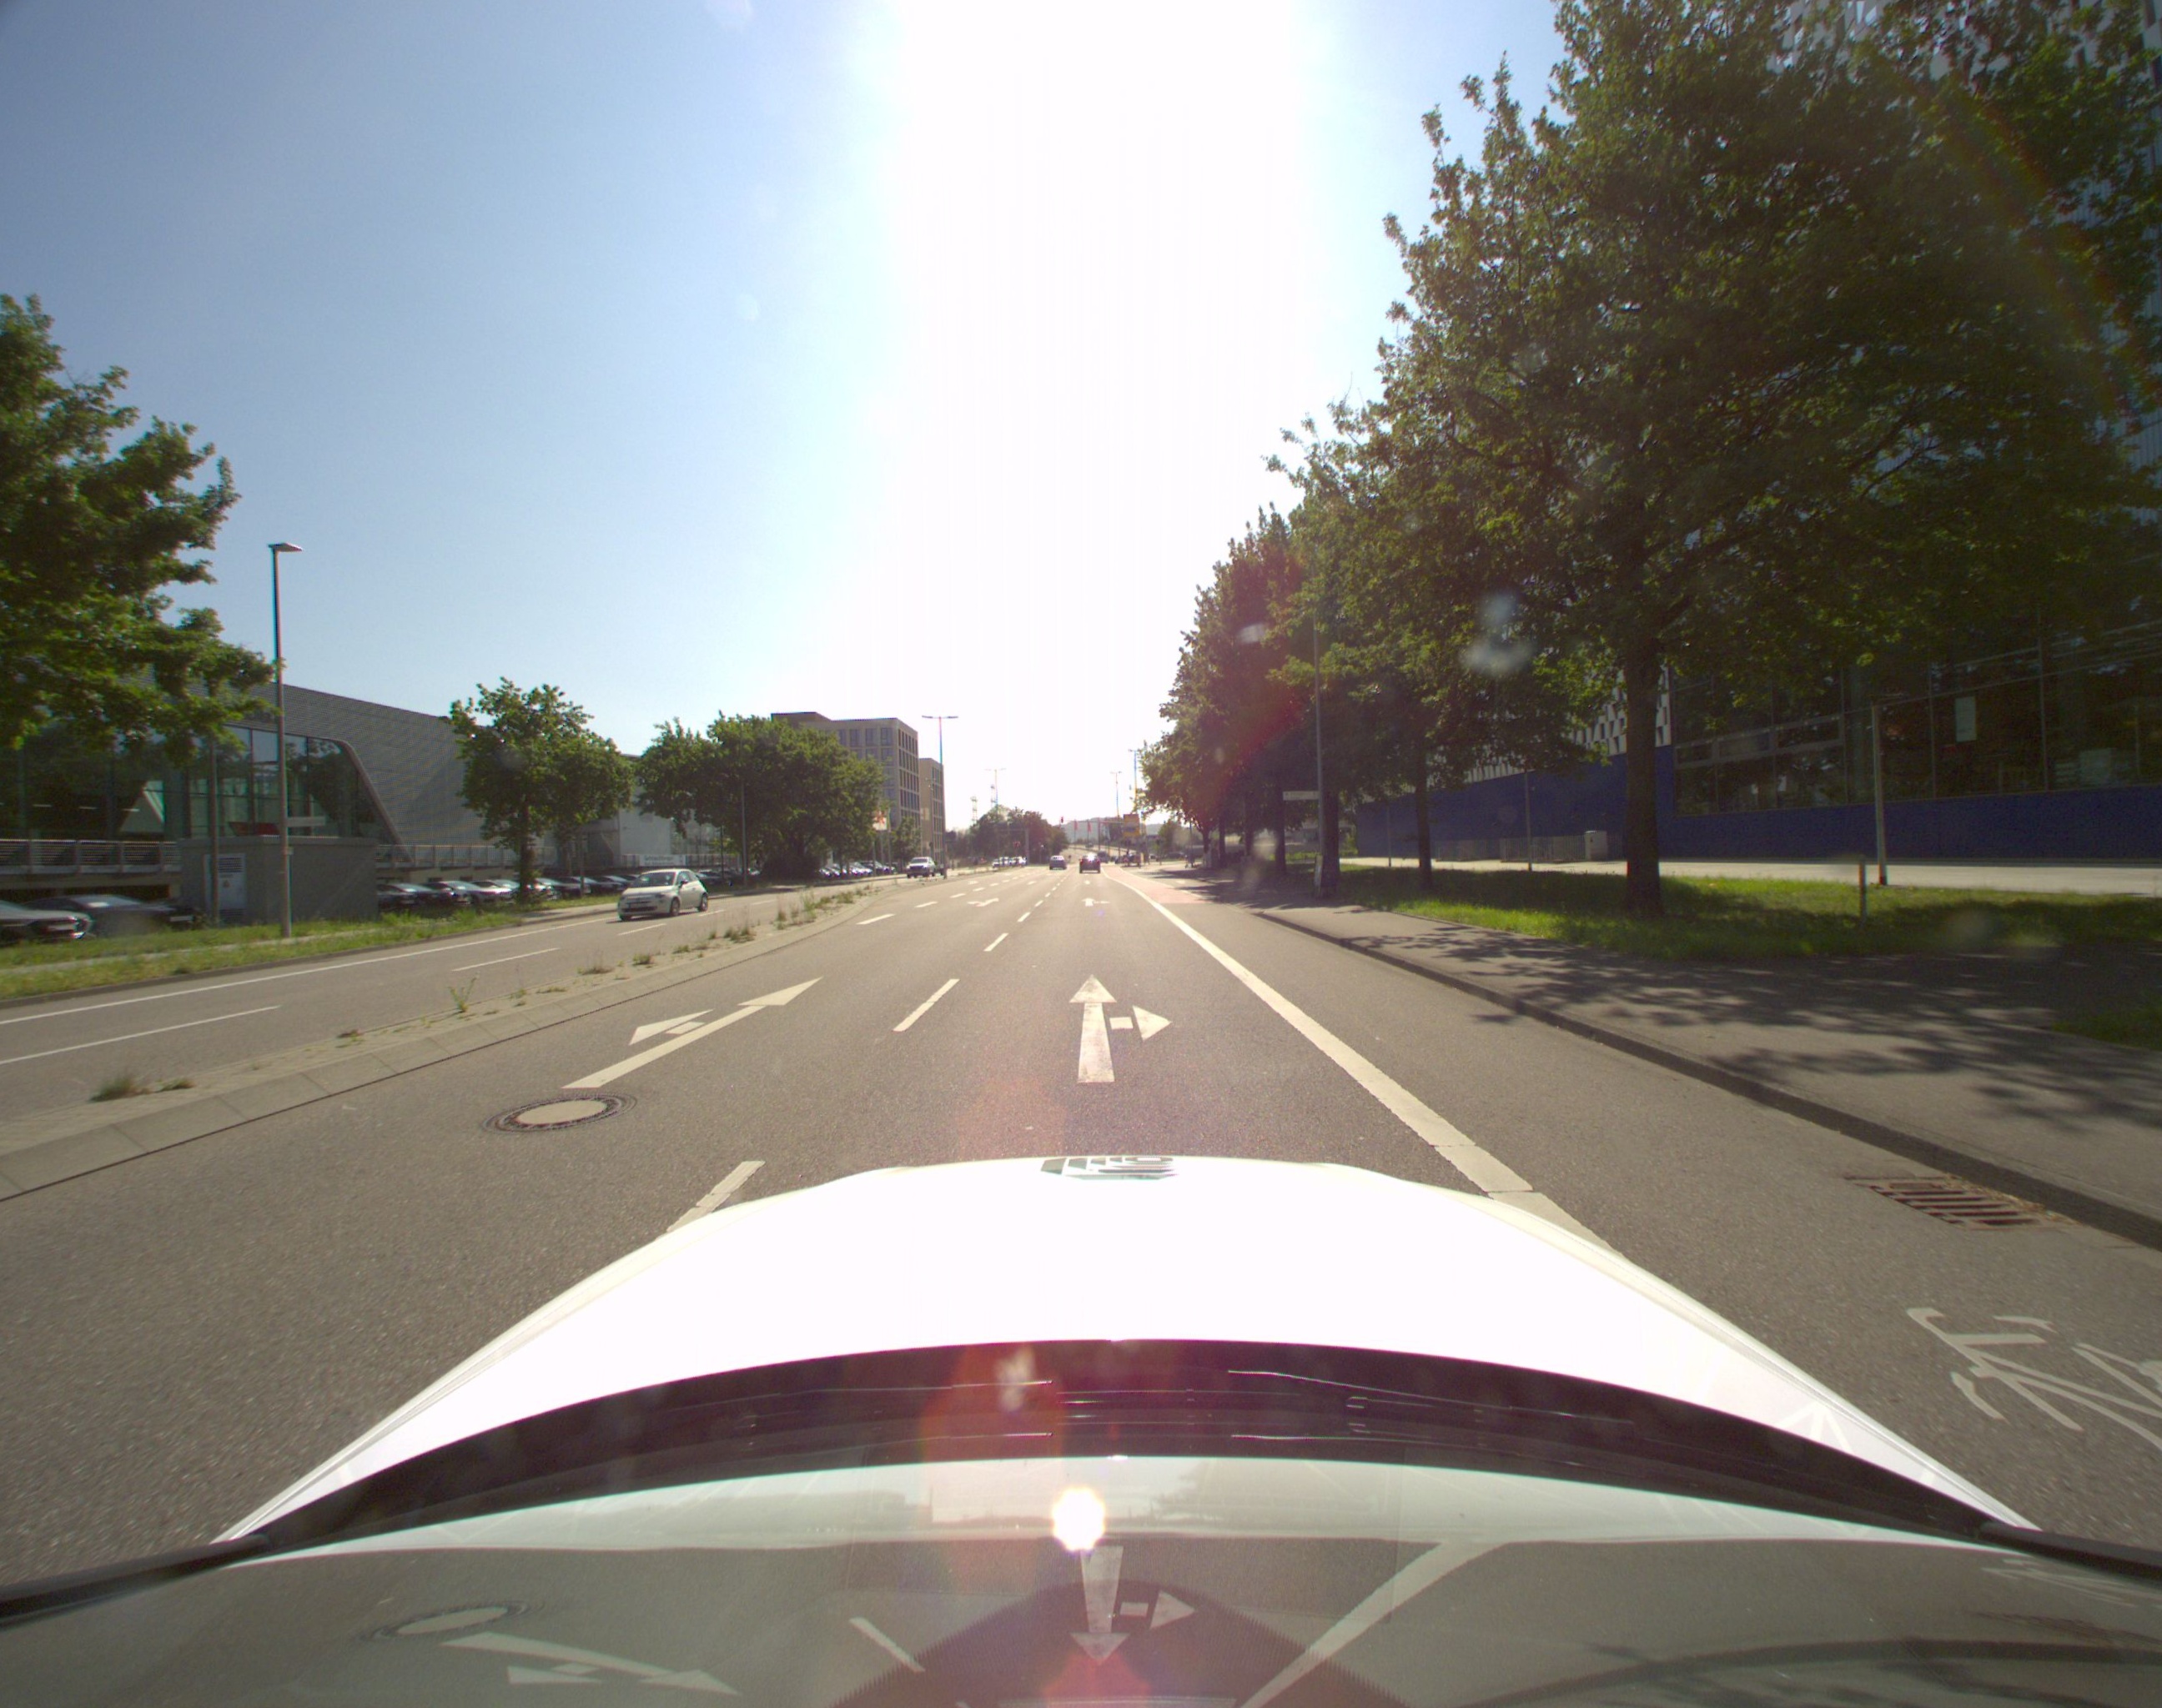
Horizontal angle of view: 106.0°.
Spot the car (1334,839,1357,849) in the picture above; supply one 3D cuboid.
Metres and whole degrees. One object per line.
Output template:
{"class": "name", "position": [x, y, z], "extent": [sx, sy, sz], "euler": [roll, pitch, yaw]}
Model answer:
{"class": "car", "position": [53.685, -2.044, 165.307], "extent": [3.975, 2.013, 2.000], "euler": [0, 1, -1]}

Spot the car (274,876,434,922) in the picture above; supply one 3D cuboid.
{"class": "car", "position": [-26.262, 1.613, 29.523], "extent": [3.973, 1.376, 2.000], "euler": [-2, 0, 1]}

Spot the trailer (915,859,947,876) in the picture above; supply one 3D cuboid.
{"class": "trailer", "position": [-14.268, 1.257, 77.751], "extent": [1.988, 1.453, 5.769], "euler": [-2, 0, -1]}

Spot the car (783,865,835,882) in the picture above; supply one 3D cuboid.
{"class": "car", "position": [-24.840, 1.778, 74.453], "extent": [3.974, 1.343, 2.000], "euler": [-2, 0, 0]}

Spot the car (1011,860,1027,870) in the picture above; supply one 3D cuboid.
{"class": "car", "position": [-10.111, 1.760, 132.974], "extent": [1.807, 1.464, 4.006], "euler": [-3, 0, 6]}

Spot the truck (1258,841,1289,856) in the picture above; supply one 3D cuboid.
{"class": "truck", "position": [31.842, -0.968, 134.737], "extent": [4.860, 2.423, 2.002], "euler": [0, 1, 3]}

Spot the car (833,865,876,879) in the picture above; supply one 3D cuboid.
{"class": "car", "position": [-24.409, 1.937, 87.850], "extent": [3.974, 1.343, 2.000], "euler": [-2, 0, 0]}

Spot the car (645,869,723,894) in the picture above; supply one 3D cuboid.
{"class": "car", "position": [-25.372, 1.763, 52.171], "extent": [3.973, 1.376, 1.925], "euler": [-2, 0, 1]}

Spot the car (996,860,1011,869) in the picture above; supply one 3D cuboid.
{"class": "car", "position": [-13.227, 1.808, 139.311], "extent": [1.807, 1.464, 4.006], "euler": [-3, 0, 6]}

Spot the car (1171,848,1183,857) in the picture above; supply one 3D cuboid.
{"class": "car", "position": [15.000, -0.288, 127.149], "extent": [1.682, 1.359, 4.004], "euler": [0, 1, 3]}

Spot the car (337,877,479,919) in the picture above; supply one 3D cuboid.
{"class": "car", "position": [-26.361, 1.702, 32.004], "extent": [3.973, 1.376, 1.866], "euler": [-2, 0, 1]}

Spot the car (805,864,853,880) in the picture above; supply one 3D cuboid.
{"class": "car", "position": [-24.607, 1.763, 79.681], "extent": [3.976, 1.343, 1.999], "euler": [-2, 0, -1]}

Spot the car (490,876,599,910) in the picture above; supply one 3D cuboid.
{"class": "car", "position": [-26.013, 1.875, 39.561], "extent": [3.973, 1.376, 1.925], "euler": [-2, 0, 1]}

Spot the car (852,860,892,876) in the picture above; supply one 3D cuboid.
{"class": "car", "position": [-29.244, 1.971, 114.012], "extent": [4.895, 2.050, 2.001], "euler": [-2, 0, 2]}

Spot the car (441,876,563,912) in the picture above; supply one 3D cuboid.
{"class": "car", "position": [-26.196, 1.802, 36.963], "extent": [4.027, 1.376, 2.026], "euler": [-2, 0, 1]}

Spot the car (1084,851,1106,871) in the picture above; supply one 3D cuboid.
{"class": "car", "position": [1.201, 0.591, 72.913], "extent": [1.801, 1.640, 4.458], "euler": [-2, 0, 0]}

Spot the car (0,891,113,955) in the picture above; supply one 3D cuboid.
{"class": "car", "position": [-26.620, 1.703, 19.677], "extent": [4.248, 1.350, 1.955], "euler": [-2, 0, 3]}

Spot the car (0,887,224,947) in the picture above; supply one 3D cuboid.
{"class": "car", "position": [-26.558, 1.691, 22.262], "extent": [4.248, 1.350, 1.955], "euler": [-2, 0, 3]}

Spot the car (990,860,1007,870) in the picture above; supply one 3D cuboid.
{"class": "car", "position": [-13.300, 1.791, 131.826], "extent": [1.882, 1.464, 4.006], "euler": [-3, 0, 6]}

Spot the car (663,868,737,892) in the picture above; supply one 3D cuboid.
{"class": "car", "position": [-25.332, 1.709, 54.258], "extent": [3.973, 1.376, 1.925], "euler": [-2, 0, 1]}

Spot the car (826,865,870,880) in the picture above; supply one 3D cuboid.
{"class": "car", "position": [-24.418, 1.962, 85.460], "extent": [3.974, 1.343, 2.000], "euler": [-2, 0, 0]}

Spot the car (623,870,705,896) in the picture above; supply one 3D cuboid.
{"class": "car", "position": [-25.529, 1.776, 49.921], "extent": [3.973, 1.376, 1.925], "euler": [-2, 0, 1]}

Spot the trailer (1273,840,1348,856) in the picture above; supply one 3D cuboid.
{"class": "trailer", "position": [37.849, -0.991, 134.496], "extent": [11.823, 2.469, 2.002], "euler": [0, 1, 2]}

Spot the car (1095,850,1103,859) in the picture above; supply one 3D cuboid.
{"class": "car", "position": [4.470, 0.165, 200.792], "extent": [1.986, 2.013, 3.983], "euler": [0, 1, 2]}

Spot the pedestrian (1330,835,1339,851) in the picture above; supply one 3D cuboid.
{"class": "pedestrian", "position": [29.939, -1.284, 96.171], "extent": [0.627, 1.770, 0.803], "euler": [-3, -1, -10]}

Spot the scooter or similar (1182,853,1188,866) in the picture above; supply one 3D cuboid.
{"class": "scooter or similar", "position": [10.364, 0.568, 80.914], "extent": [0.348, 1.233, 1.316], "euler": [-3, 0, 15]}

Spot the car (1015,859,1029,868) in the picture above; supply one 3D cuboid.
{"class": "car", "position": [-10.138, 1.644, 139.951], "extent": [1.807, 1.464, 4.006], "euler": [-3, 0, 6]}

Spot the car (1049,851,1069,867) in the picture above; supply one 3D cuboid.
{"class": "car", "position": [-2.420, 0.571, 91.134], "extent": [1.986, 1.684, 4.002], "euler": [-2, 0, 2]}

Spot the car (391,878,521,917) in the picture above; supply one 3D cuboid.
{"class": "car", "position": [-26.223, 1.791, 34.274], "extent": [3.973, 1.376, 1.866], "euler": [-2, 0, 1]}

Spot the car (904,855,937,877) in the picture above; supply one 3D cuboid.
{"class": "car", "position": [-14.210, 1.036, 72.363], "extent": [1.988, 1.832, 4.935], "euler": [-2, 0, -1]}

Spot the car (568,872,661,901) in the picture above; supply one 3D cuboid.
{"class": "car", "position": [-25.714, 1.789, 45.015], "extent": [3.973, 1.376, 1.925], "euler": [-2, 0, 1]}

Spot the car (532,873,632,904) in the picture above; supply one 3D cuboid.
{"class": "car", "position": [-25.846, 1.765, 42.272], "extent": [3.973, 1.376, 1.925], "euler": [-2, 0, 1]}

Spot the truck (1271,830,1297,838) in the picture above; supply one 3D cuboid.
{"class": "truck", "position": [48.914, -4.749, 196.006], "extent": [5.885, 2.013, 2.002], "euler": [0, 1, 3]}

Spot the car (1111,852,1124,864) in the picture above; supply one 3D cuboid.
{"class": "car", "position": [5.608, 0.596, 126.092], "extent": [1.753, 1.758, 3.601], "euler": [0, 1, -2]}

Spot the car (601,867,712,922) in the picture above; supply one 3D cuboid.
{"class": "car", "position": [-13.370, 1.219, 25.906], "extent": [1.649, 1.464, 3.548], "euler": [-4, 0, -1]}
